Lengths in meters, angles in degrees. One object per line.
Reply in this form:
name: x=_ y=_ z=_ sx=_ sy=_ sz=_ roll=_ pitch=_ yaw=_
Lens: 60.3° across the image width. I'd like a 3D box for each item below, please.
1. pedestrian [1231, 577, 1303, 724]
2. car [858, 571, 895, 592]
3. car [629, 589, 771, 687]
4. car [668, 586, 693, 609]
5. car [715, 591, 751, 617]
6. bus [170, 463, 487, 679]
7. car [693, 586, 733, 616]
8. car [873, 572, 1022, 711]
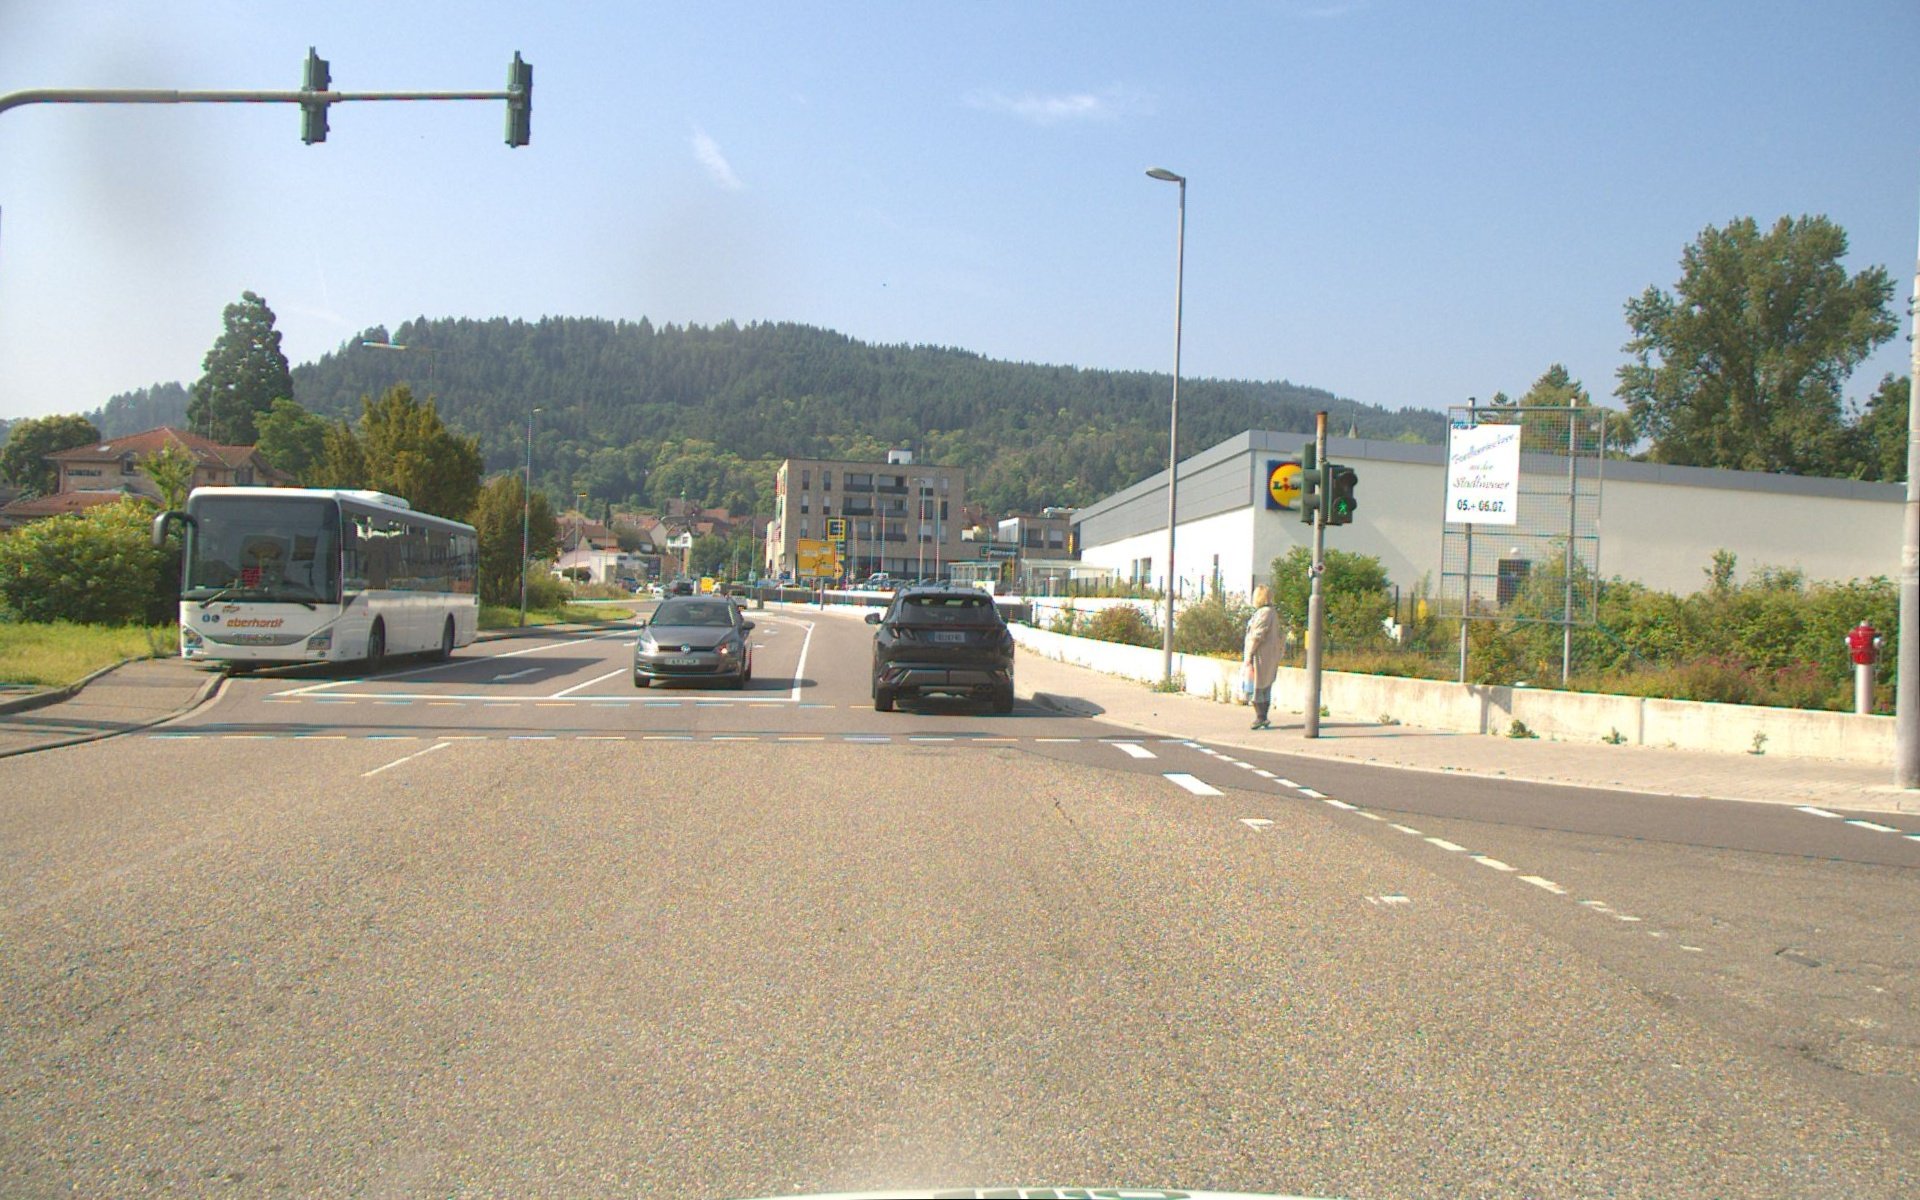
pedestrian: x=3.614 y=0.593 z=19.521 sx=0.696 sy=1.700 sz=0.593 roll=1 pitch=0 yaw=-4
car: x=-8.903 y=-1.968 z=177.081 sx=3.907 sy=2.173 sz=1.999 roll=1 pitch=0 yaw=-2
car: x=-4.260 y=0.585 z=27.712 sx=1.736 sy=1.499 sz=4.219 roll=1 pitch=0 yaw=-1
car: x=-25.458 y=-0.210 z=150.545 sx=1.955 sy=2.049 sz=3.995 roll=1 pitch=0 yaw=-6
car: x=-18.902 y=0.317 z=137.496 sx=1.967 sy=2.049 sz=3.970 roll=1 pitch=0 yaw=-24
bus: x=-11.644 y=-0.448 z=32.029 sx=2.570 sy=3.368 sz=11.943 roll=1 pitch=0 yaw=-5
car: x=-12.872 y=0.038 z=86.467 sx=1.802 sy=1.518 sz=4.427 roll=1 pitch=0 yaw=-5
car: x=-0.157 y=0.523 z=22.809 sx=1.842 sy=1.713 sz=4.000 roll=1 pitch=0 yaw=0
